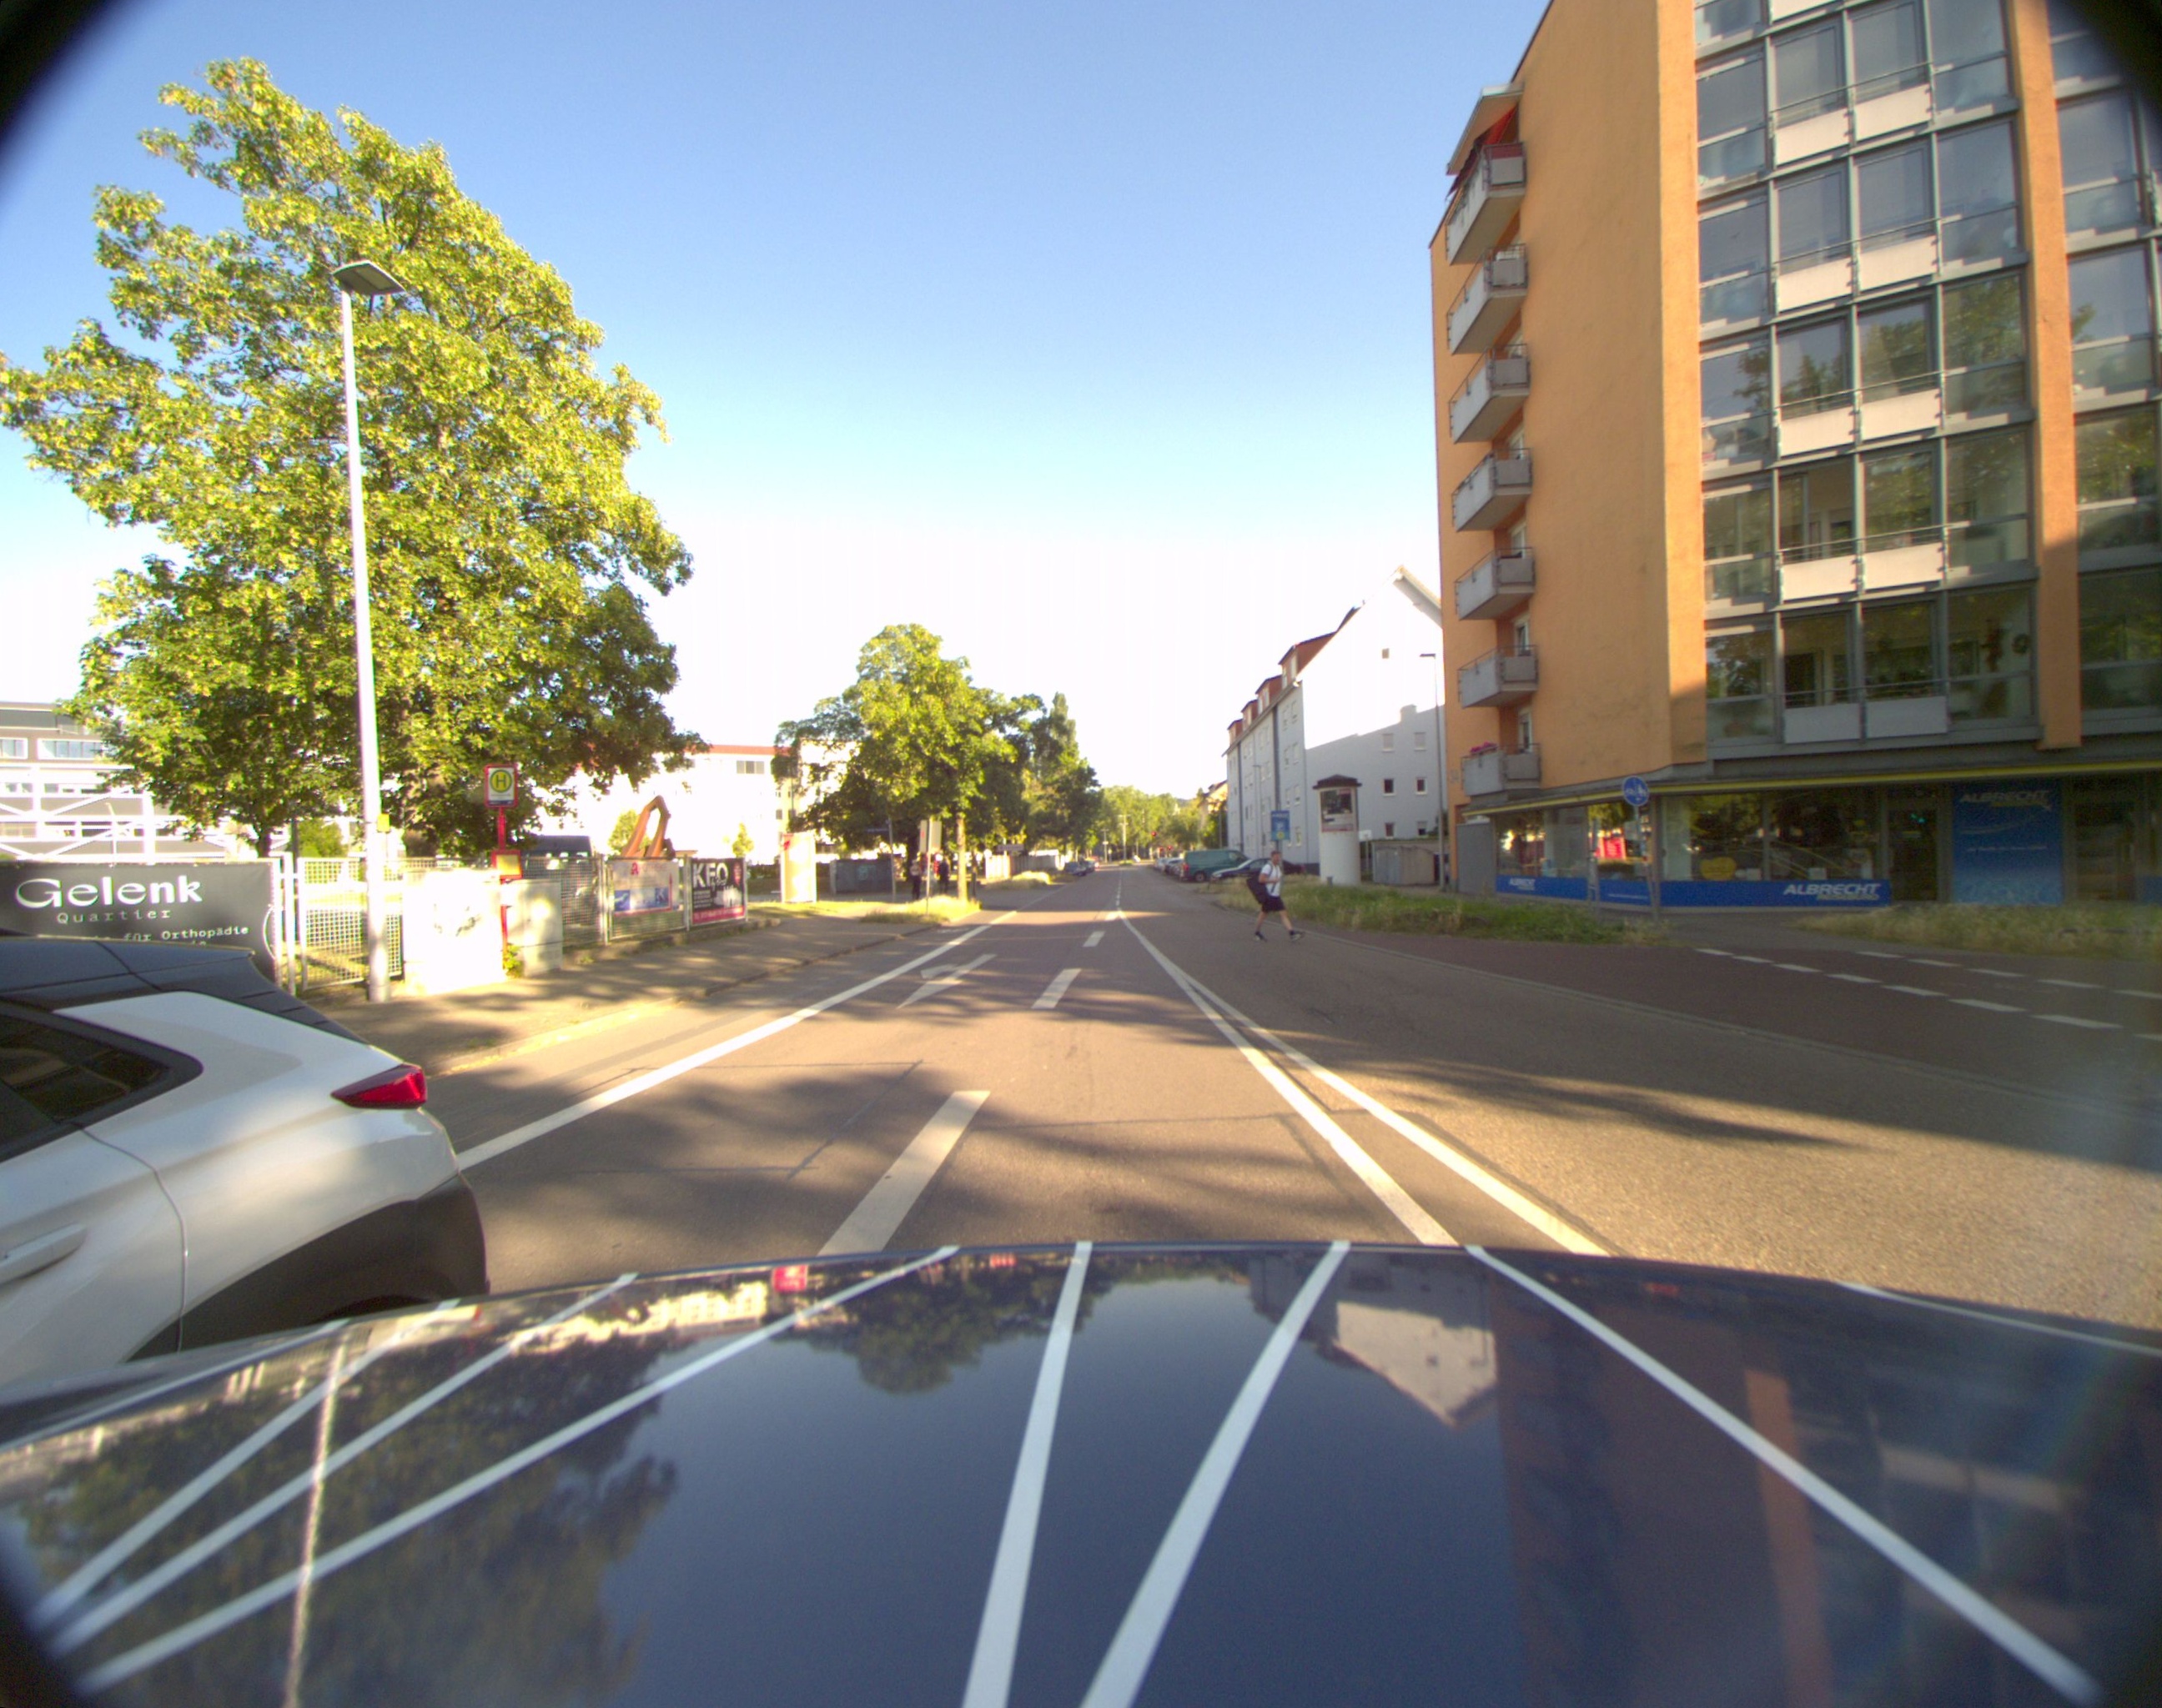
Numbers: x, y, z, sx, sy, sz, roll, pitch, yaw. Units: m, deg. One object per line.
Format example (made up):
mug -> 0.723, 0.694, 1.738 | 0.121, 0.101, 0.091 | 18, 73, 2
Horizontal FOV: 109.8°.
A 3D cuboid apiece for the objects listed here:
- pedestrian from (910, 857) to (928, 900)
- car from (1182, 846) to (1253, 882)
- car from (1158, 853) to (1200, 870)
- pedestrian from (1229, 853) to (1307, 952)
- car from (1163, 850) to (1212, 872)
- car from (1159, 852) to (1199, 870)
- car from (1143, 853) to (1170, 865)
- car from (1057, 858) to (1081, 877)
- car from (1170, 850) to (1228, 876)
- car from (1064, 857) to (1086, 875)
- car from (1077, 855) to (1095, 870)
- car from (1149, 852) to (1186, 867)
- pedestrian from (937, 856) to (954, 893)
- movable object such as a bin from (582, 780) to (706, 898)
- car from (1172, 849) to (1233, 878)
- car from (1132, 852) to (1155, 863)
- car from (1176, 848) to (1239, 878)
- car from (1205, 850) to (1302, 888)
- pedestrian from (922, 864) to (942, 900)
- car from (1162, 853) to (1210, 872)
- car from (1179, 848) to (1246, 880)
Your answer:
pedestrian -> -6.777, 1.017, 31.798 | 0.609, 1.727, 0.638 | -2, 1, -5
car -> 8.184, 0.585, 45.942 | 3.996, 1.936, 2.000 | -2, 1, 4
car -> 10.296, 0.744, 79.935 | 4.257, 1.564, 1.867 | -2, 1, 5
pedestrian -> 3.466, 0.868, 14.135 | 0.903, 1.727, 1.086 | -3, 1, -21
car -> 9.264, 0.598, 66.491 | 4.117, 1.762, 1.757 | -2, 1, 5
car -> 10.248, 0.713, 80.070 | 4.071, 1.741, 1.899 | -2, 1, 5
car -> 10.454, 0.690, 105.246 | 3.538, 1.564, 1.867 | -2, 1, 5
car -> -1.100, 1.209, 69.599 | 1.998, 1.521, 3.999 | -2, 1, 1
car -> 8.737, 0.653, 56.441 | 4.071, 1.741, 1.899 | -2, 1, 5
car -> -0.598, 1.141, 73.947 | 1.998, 1.521, 3.999 | -2, 1, 1
car -> 0.557, 0.939, 87.980 | 1.998, 1.521, 3.999 | -2, 1, 1
car -> 10.211, 0.633, 90.193 | 4.257, 1.564, 1.867 | -2, 1, 5
pedestrian -> -6.338, 0.960, 35.566 | 0.696, 1.659, 0.638 | -2, 1, -11
movable object such as a bin -> -22.239, -0.706, 38.551 | 3.986, 5.447, 6.016 | -3, 1, -42
car -> 8.560, 0.659, 53.697 | 4.059, 1.805, 1.937 | -2, 1, 5
car -> 9.690, 0.574, 118.226 | 3.538, 1.564, 1.867 | -2, 1, 5
car -> 8.490, 0.578, 51.346 | 3.995, 1.805, 2.000 | -2, 1, 5
car -> 8.287, 0.724, 36.877 | 4.423, 1.652, 2.001 | -2, 1, 9
pedestrian -> -6.082, 1.136, 30.986 | 0.609, 1.426, 0.639 | -2, 1, 1
car -> 9.557, 0.763, 69.378 | 4.257, 1.564, 1.867 | -2, 1, 5
car -> 8.346, 0.615, 48.590 | 3.995, 1.805, 2.000 | -2, 1, 5
